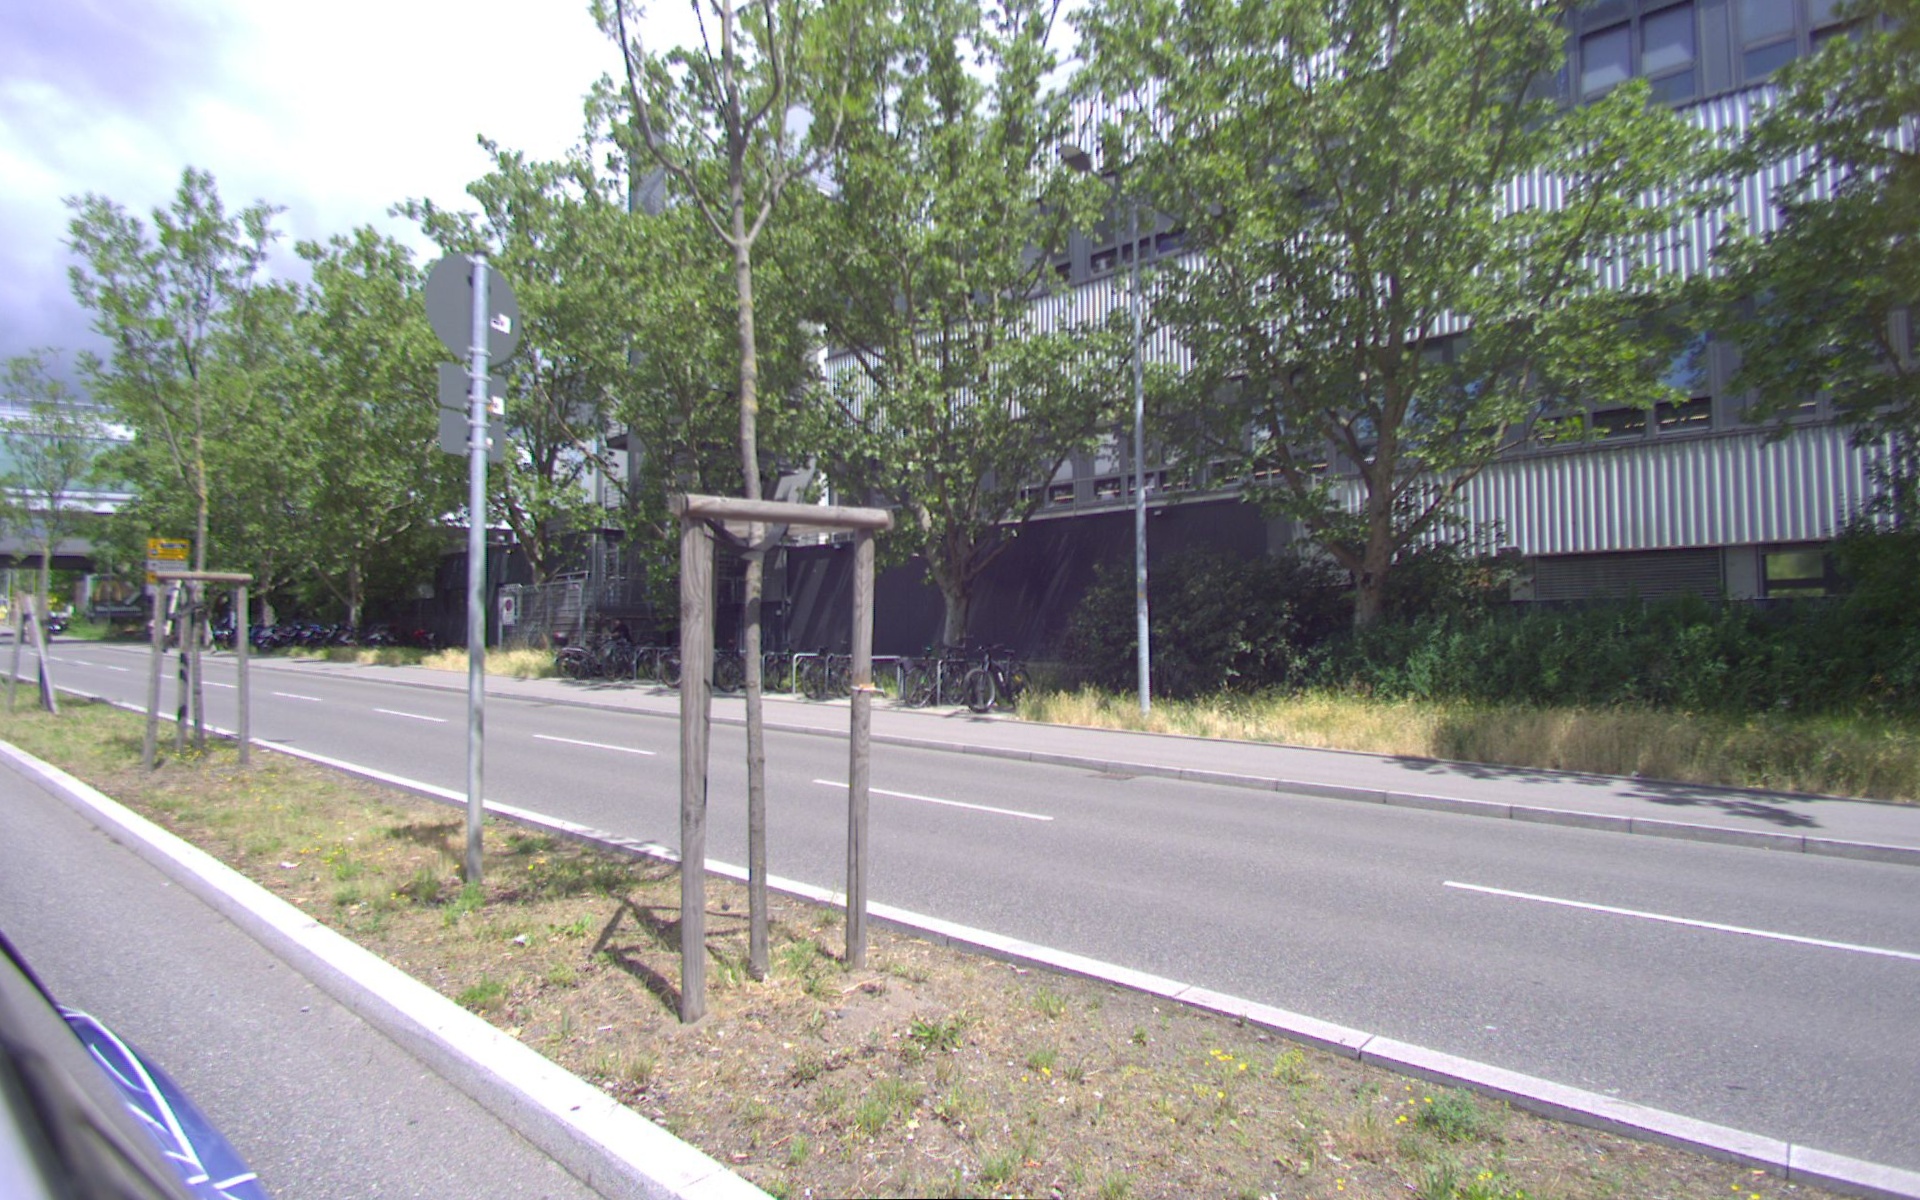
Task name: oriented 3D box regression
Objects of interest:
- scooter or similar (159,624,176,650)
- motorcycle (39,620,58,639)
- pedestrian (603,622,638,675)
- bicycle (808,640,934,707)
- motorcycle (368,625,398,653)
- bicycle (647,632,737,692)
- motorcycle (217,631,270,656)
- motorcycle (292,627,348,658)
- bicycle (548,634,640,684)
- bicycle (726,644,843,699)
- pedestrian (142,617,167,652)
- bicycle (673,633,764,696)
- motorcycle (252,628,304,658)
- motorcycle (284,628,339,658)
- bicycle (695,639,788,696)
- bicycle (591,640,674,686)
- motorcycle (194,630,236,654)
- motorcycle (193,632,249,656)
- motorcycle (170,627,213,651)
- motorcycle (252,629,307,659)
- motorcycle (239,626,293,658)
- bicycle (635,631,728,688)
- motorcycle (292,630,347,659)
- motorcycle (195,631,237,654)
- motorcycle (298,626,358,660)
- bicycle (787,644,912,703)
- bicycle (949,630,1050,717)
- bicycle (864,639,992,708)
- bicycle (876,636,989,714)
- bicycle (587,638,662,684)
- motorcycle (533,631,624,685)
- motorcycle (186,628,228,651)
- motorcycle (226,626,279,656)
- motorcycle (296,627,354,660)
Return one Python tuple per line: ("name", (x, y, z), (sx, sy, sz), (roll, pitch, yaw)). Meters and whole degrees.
("scooter or similar", (-39.104, 1.833, 49.948), (1.478, 1.245, 0.350), (0, 0, 40))
("motorcycle", (-63.043, 2.031, 70.007), (2.255, 1.207, 0.633), (0, 1, 39))
("pedestrian", (-10.120, 1.427, 30.124), (0.744, 1.563, 0.822), (0, -1, -40))
("bicycle", (-1.703, 1.392, 19.685), (2.533, 1.166, 0.645), (0, -1, -40))
("motorcycle", (-26.343, 1.802, 46.186), (1.983, 1.219, 0.645), (-3, -1, 45))
("bicycle", (-6.103, 1.392, 23.158), (0.805, 1.292, 1.899), (-1, -1, 38))
("motorcycle", (-34.223, 2.069, 48.362), (1.904, 1.124, 0.924), (-2, -1, -23))
("motorcycle", (-27.093, 1.808, 42.853), (0.655, 1.219, 1.857), (-3, -1, 43))
("bicycle", (-9.341, 1.489, 25.901), (0.805, 1.189, 2.113), (-1, -1, 38))
("bicycle", (-3.698, 1.497, 21.644), (0.848, 1.014, 2.814), (-1, -1, 31))
("pedestrian", (-38.789, 1.668, 48.753), (0.812, 1.624, 0.760), (-1, 1, 39))
("bicycle", (-5.371, 1.402, 22.573), (0.805, 1.292, 1.899), (-1, -1, 38))
("motorcycle", (-30.232, 1.901, 44.867), (1.853, 1.188, 0.817), (-2, -1, -35))
("motorcycle", (-27.932, 1.861, 43.576), (0.698, 1.188, 1.857), (-3, -1, 43))
("bicycle", (-4.689, 1.429, 21.842), (0.805, 1.131, 1.899), (-1, -1, 38))
("bicycle", (-8.185, 1.554, 25.393), (0.497, 1.070, 2.060), (-1, -1, 38))
("motorcycle", (-38.152, 2.152, 51.823), (0.776, 1.131, 1.574), (-3, -1, 41))
("motorcycle", (-35.833, 2.128, 49.089), (0.917, 1.124, 1.919), (0, -3, 28))
("motorcycle", (-40.926, 2.079, 53.893), (1.721, 1.180, 0.777), (-2, -1, -42))
("motorcycle", (-29.477, 1.917, 43.849), (1.855, 1.188, 0.816), (-2, -1, -41))
("motorcycle", (-31.379, 1.887, 45.810), (1.905, 1.354, 0.867), (-2, -1, -29))
("bicycle", (-6.678, 1.404, 24.381), (0.805, 1.292, 2.113), (-1, -1, 38))
("motorcycle", (-26.510, 1.836, 41.898), (1.853, 1.093, 0.796), (-2, -1, -35))
("motorcycle", (-37.287, 2.123, 50.720), (0.776, 1.041, 1.574), (-3, -1, 41))
("motorcycle", (-24.543, 1.659, 39.311), (1.855, 1.182, 0.746), (-2, -1, -41))
("bicycle", (-2.188, 1.438, 20.306), (2.532, 1.104, 0.697), (2, -3, -40))
("bicycle", (0.708, 1.224, 17.432), (0.489, 1.374, 2.144), (-2, -2, 42))
("bicycle", (-0.578, 1.372, 19.371), (2.533, 1.166, 0.727), (0, -1, -40))
("bicycle", (-0.454, 1.302, 18.146), (0.555, 1.267, 2.379), (-2, -2, 42))
("bicycle", (-8.508, 1.529, 25.739), (0.422, 1.083, 1.905), (-1, -1, 38))
("motorcycle", (-9.902, 1.471, 26.303), (0.805, 1.319, 2.113), (-1, -1, 38))
("motorcycle", (-39.187, 2.045, 52.668), (0.773, 1.131, 1.579), (-3, -1, 31))
("motorcycle", (-33.070, 1.924, 47.328), (1.905, 1.300, 0.895), (-2, -1, -29))
("motorcycle", (-25.689, 1.743, 40.940), (1.855, 1.195, 0.730), (-2, 0, -42))
